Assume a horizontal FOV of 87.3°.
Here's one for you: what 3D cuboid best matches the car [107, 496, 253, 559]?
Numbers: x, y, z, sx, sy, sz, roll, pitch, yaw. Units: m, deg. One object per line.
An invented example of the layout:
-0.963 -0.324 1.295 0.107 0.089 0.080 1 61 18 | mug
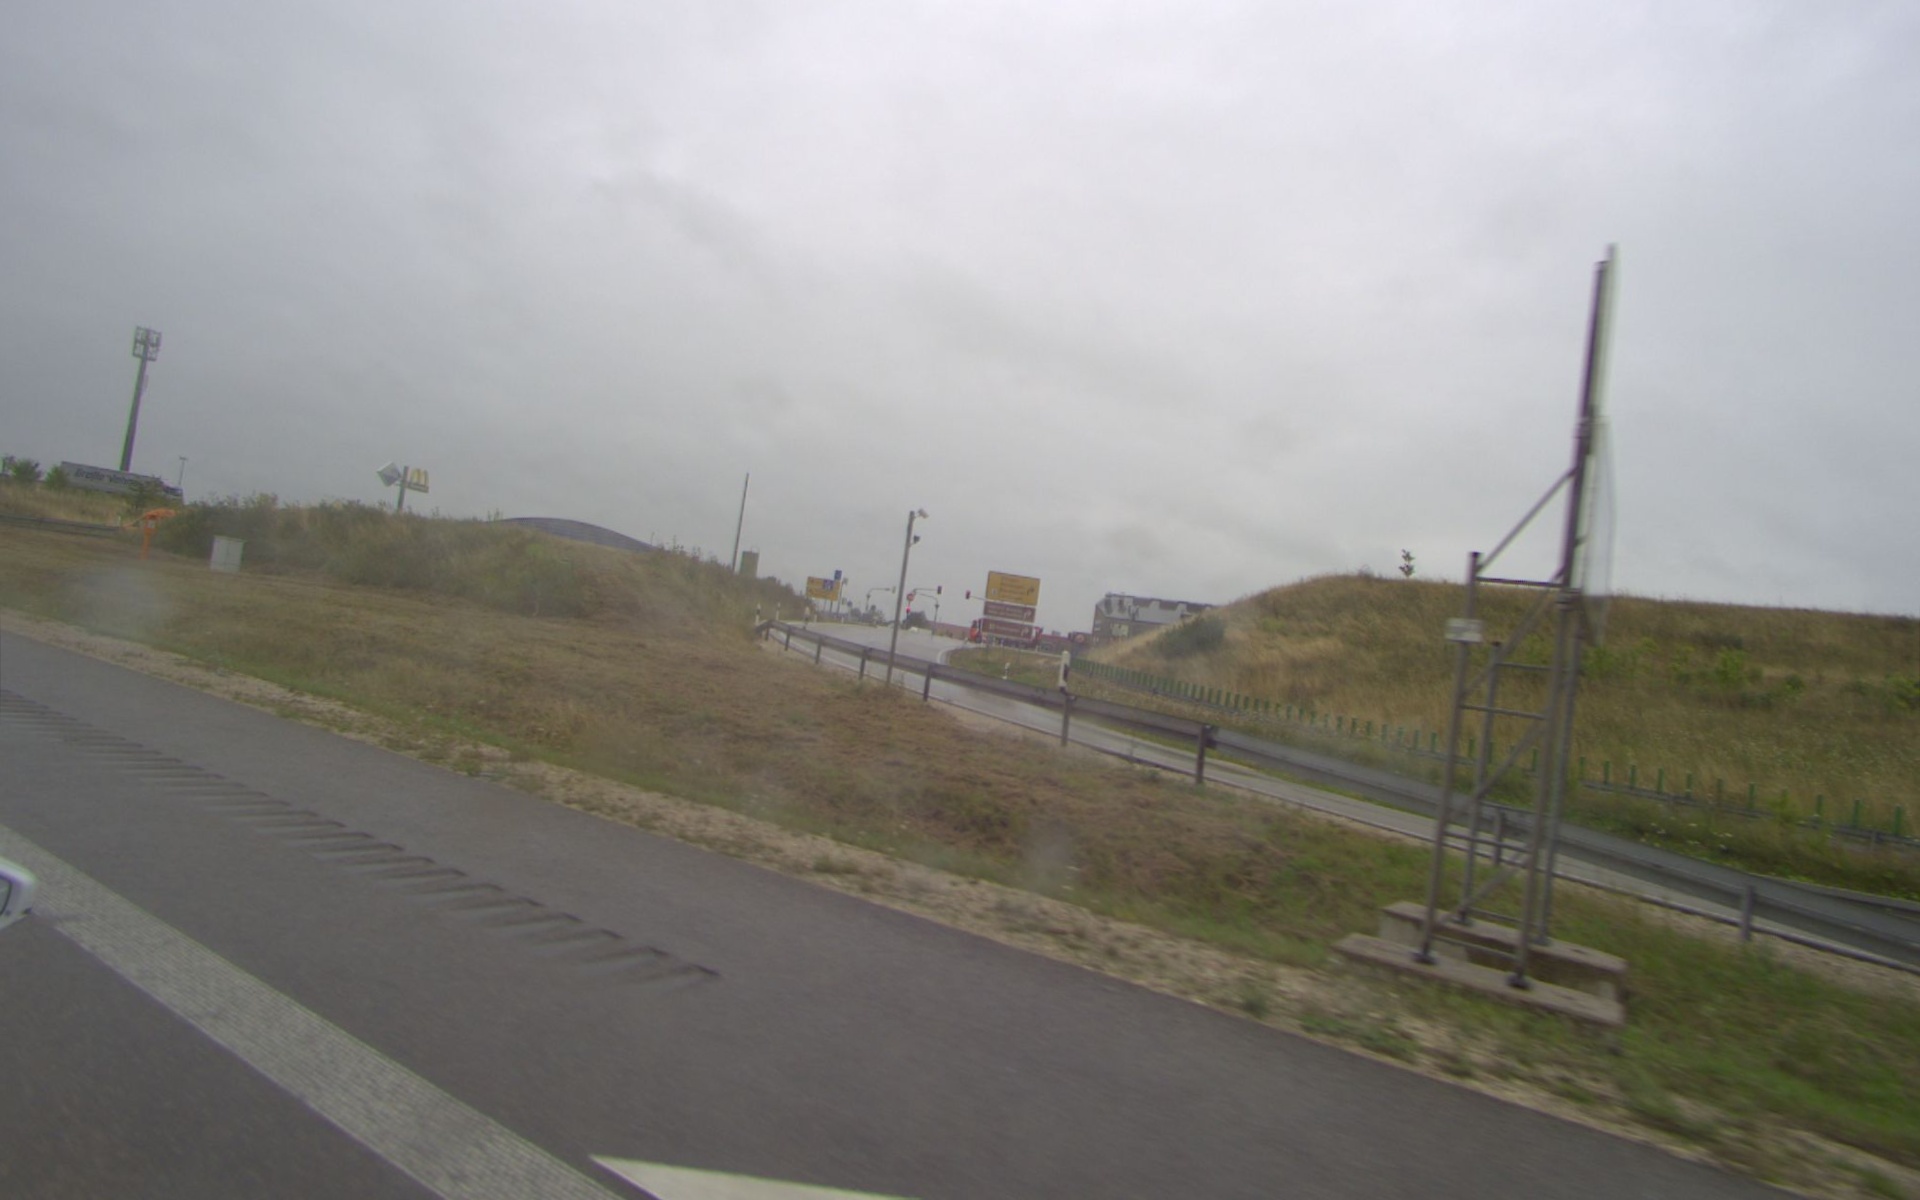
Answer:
-49.886 -4.553 64.579 6.808 2.643 2.056 10 -3 -26 | car
